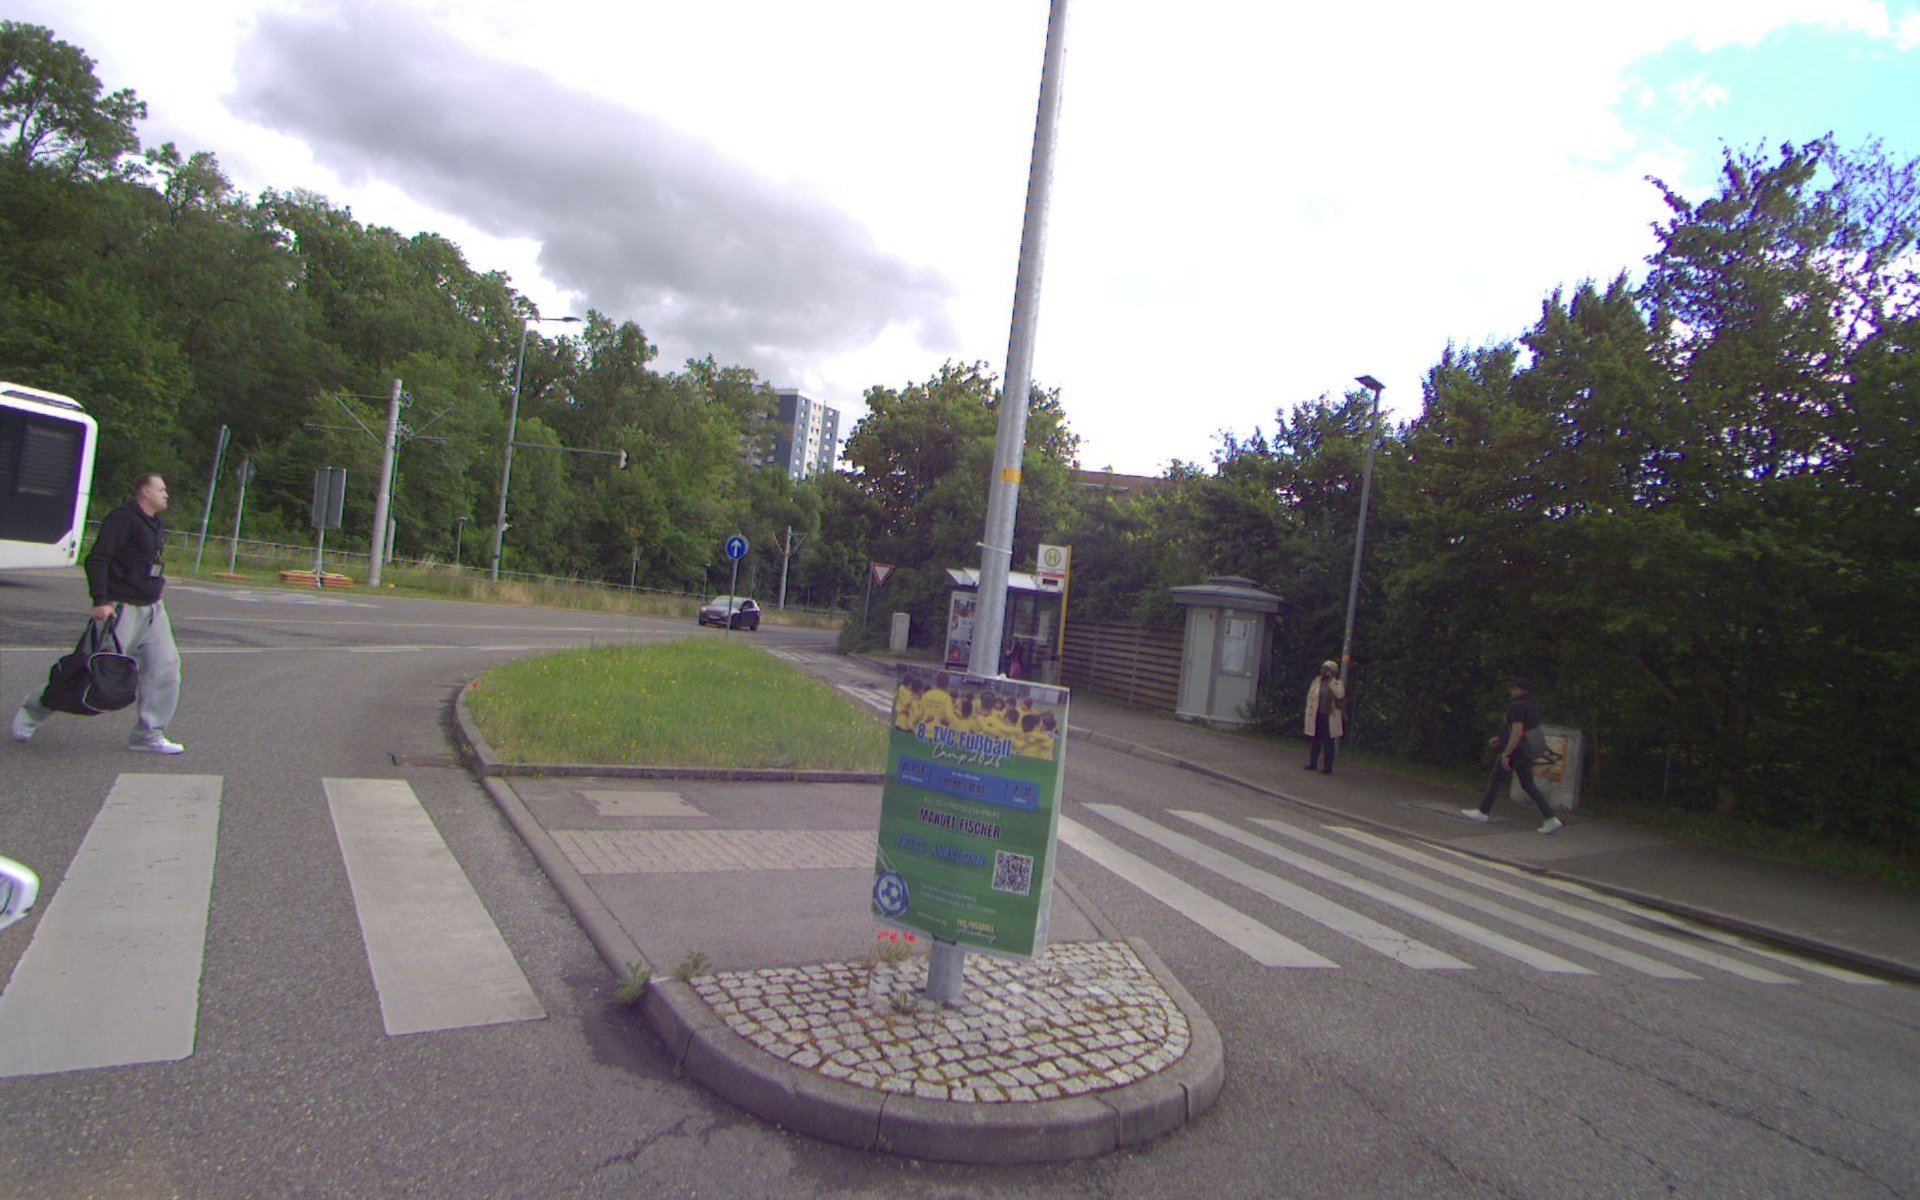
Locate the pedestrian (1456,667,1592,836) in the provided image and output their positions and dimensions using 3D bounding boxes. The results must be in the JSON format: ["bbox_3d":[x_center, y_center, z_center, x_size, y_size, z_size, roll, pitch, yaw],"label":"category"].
[{"bbox_3d":[6.784,1.813,12.128,0.848,1.844,0.977,7,0,-31],"label":"pedestrian"}]

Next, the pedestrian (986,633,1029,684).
[{"bbox_3d":[1.213,1.491,25.808,0.740,1.184,0.767,7,-1,-23],"label":"pedestrian"}]

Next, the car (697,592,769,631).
[{"bbox_3d":[-10.240,0.568,45.706,1.728,1.451,4.433,7,-2,5],"label":"car"}]

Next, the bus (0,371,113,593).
[{"bbox_3d":[-16.261,-2.143,10.835,2.624,3.240,12.211,7,-1,7],"label":"bus"}]

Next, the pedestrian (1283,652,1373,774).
[{"bbox_3d":[5.381,1.649,14.741,0.678,1.614,0.766,7,3,-26],"label":"pedestrian"}]

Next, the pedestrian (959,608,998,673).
[{"bbox_3d":[0.509,1.109,27.665,0.759,1.669,0.685,7,0,-13],"label":"pedestrian"}]

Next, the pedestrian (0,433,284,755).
[{"bbox_3d":[-5.193,-0.026,6.318,1.042,1.767,0.958,7,-1,16],"label":"pedestrian"}]
